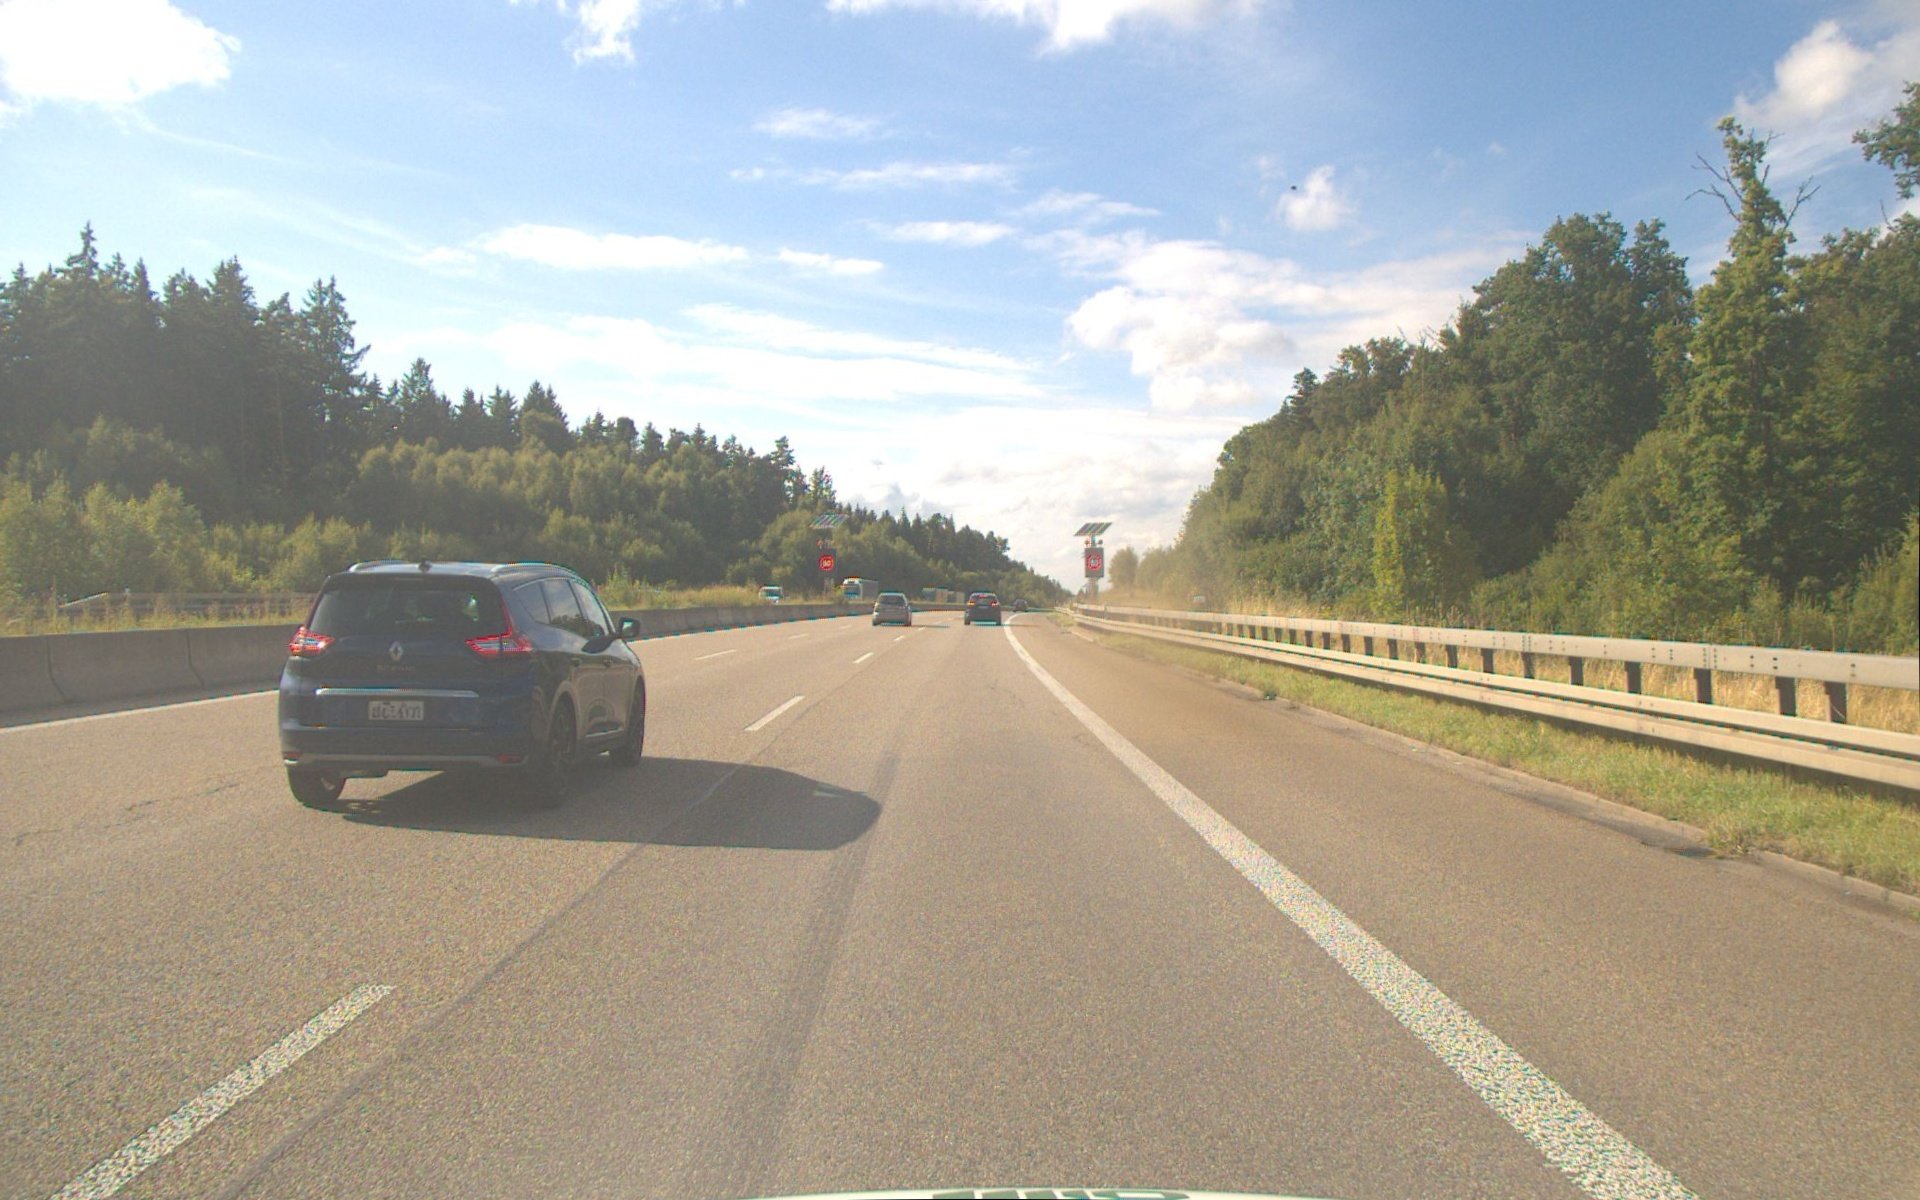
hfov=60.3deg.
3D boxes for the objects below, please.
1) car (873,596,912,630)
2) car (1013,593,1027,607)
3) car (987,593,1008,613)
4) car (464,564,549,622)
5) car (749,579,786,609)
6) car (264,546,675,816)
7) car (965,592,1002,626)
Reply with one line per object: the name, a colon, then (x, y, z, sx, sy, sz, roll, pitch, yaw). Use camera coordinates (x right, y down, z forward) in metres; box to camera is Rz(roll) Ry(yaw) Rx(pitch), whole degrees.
car: (-3.271, 0.610, 79.733, 1.836, 1.523, 3.878, 1, 1, -3)
car: (7.546, 0.031, 207.720, 1.774, 1.735, 4.001, 0, 1, 2)
car: (4.025, 0.299, 177.135, 1.953, 2.049, 3.998, 1, 0, -2)
car: (-18.706, -0.304, 68.437, 2.022, 2.283, 5.204, 1, 0, 0)
car: (-16.533, -0.522, 142.326, 2.263, 2.358, 6.193, 4, 0, 1)
car: (-3.588, 0.518, 13.059, 1.953, 1.736, 4.528, 1, 0, -1)
car: (1.225, 0.446, 86.227, 1.835, 1.704, 3.890, 1, 1, 0)
